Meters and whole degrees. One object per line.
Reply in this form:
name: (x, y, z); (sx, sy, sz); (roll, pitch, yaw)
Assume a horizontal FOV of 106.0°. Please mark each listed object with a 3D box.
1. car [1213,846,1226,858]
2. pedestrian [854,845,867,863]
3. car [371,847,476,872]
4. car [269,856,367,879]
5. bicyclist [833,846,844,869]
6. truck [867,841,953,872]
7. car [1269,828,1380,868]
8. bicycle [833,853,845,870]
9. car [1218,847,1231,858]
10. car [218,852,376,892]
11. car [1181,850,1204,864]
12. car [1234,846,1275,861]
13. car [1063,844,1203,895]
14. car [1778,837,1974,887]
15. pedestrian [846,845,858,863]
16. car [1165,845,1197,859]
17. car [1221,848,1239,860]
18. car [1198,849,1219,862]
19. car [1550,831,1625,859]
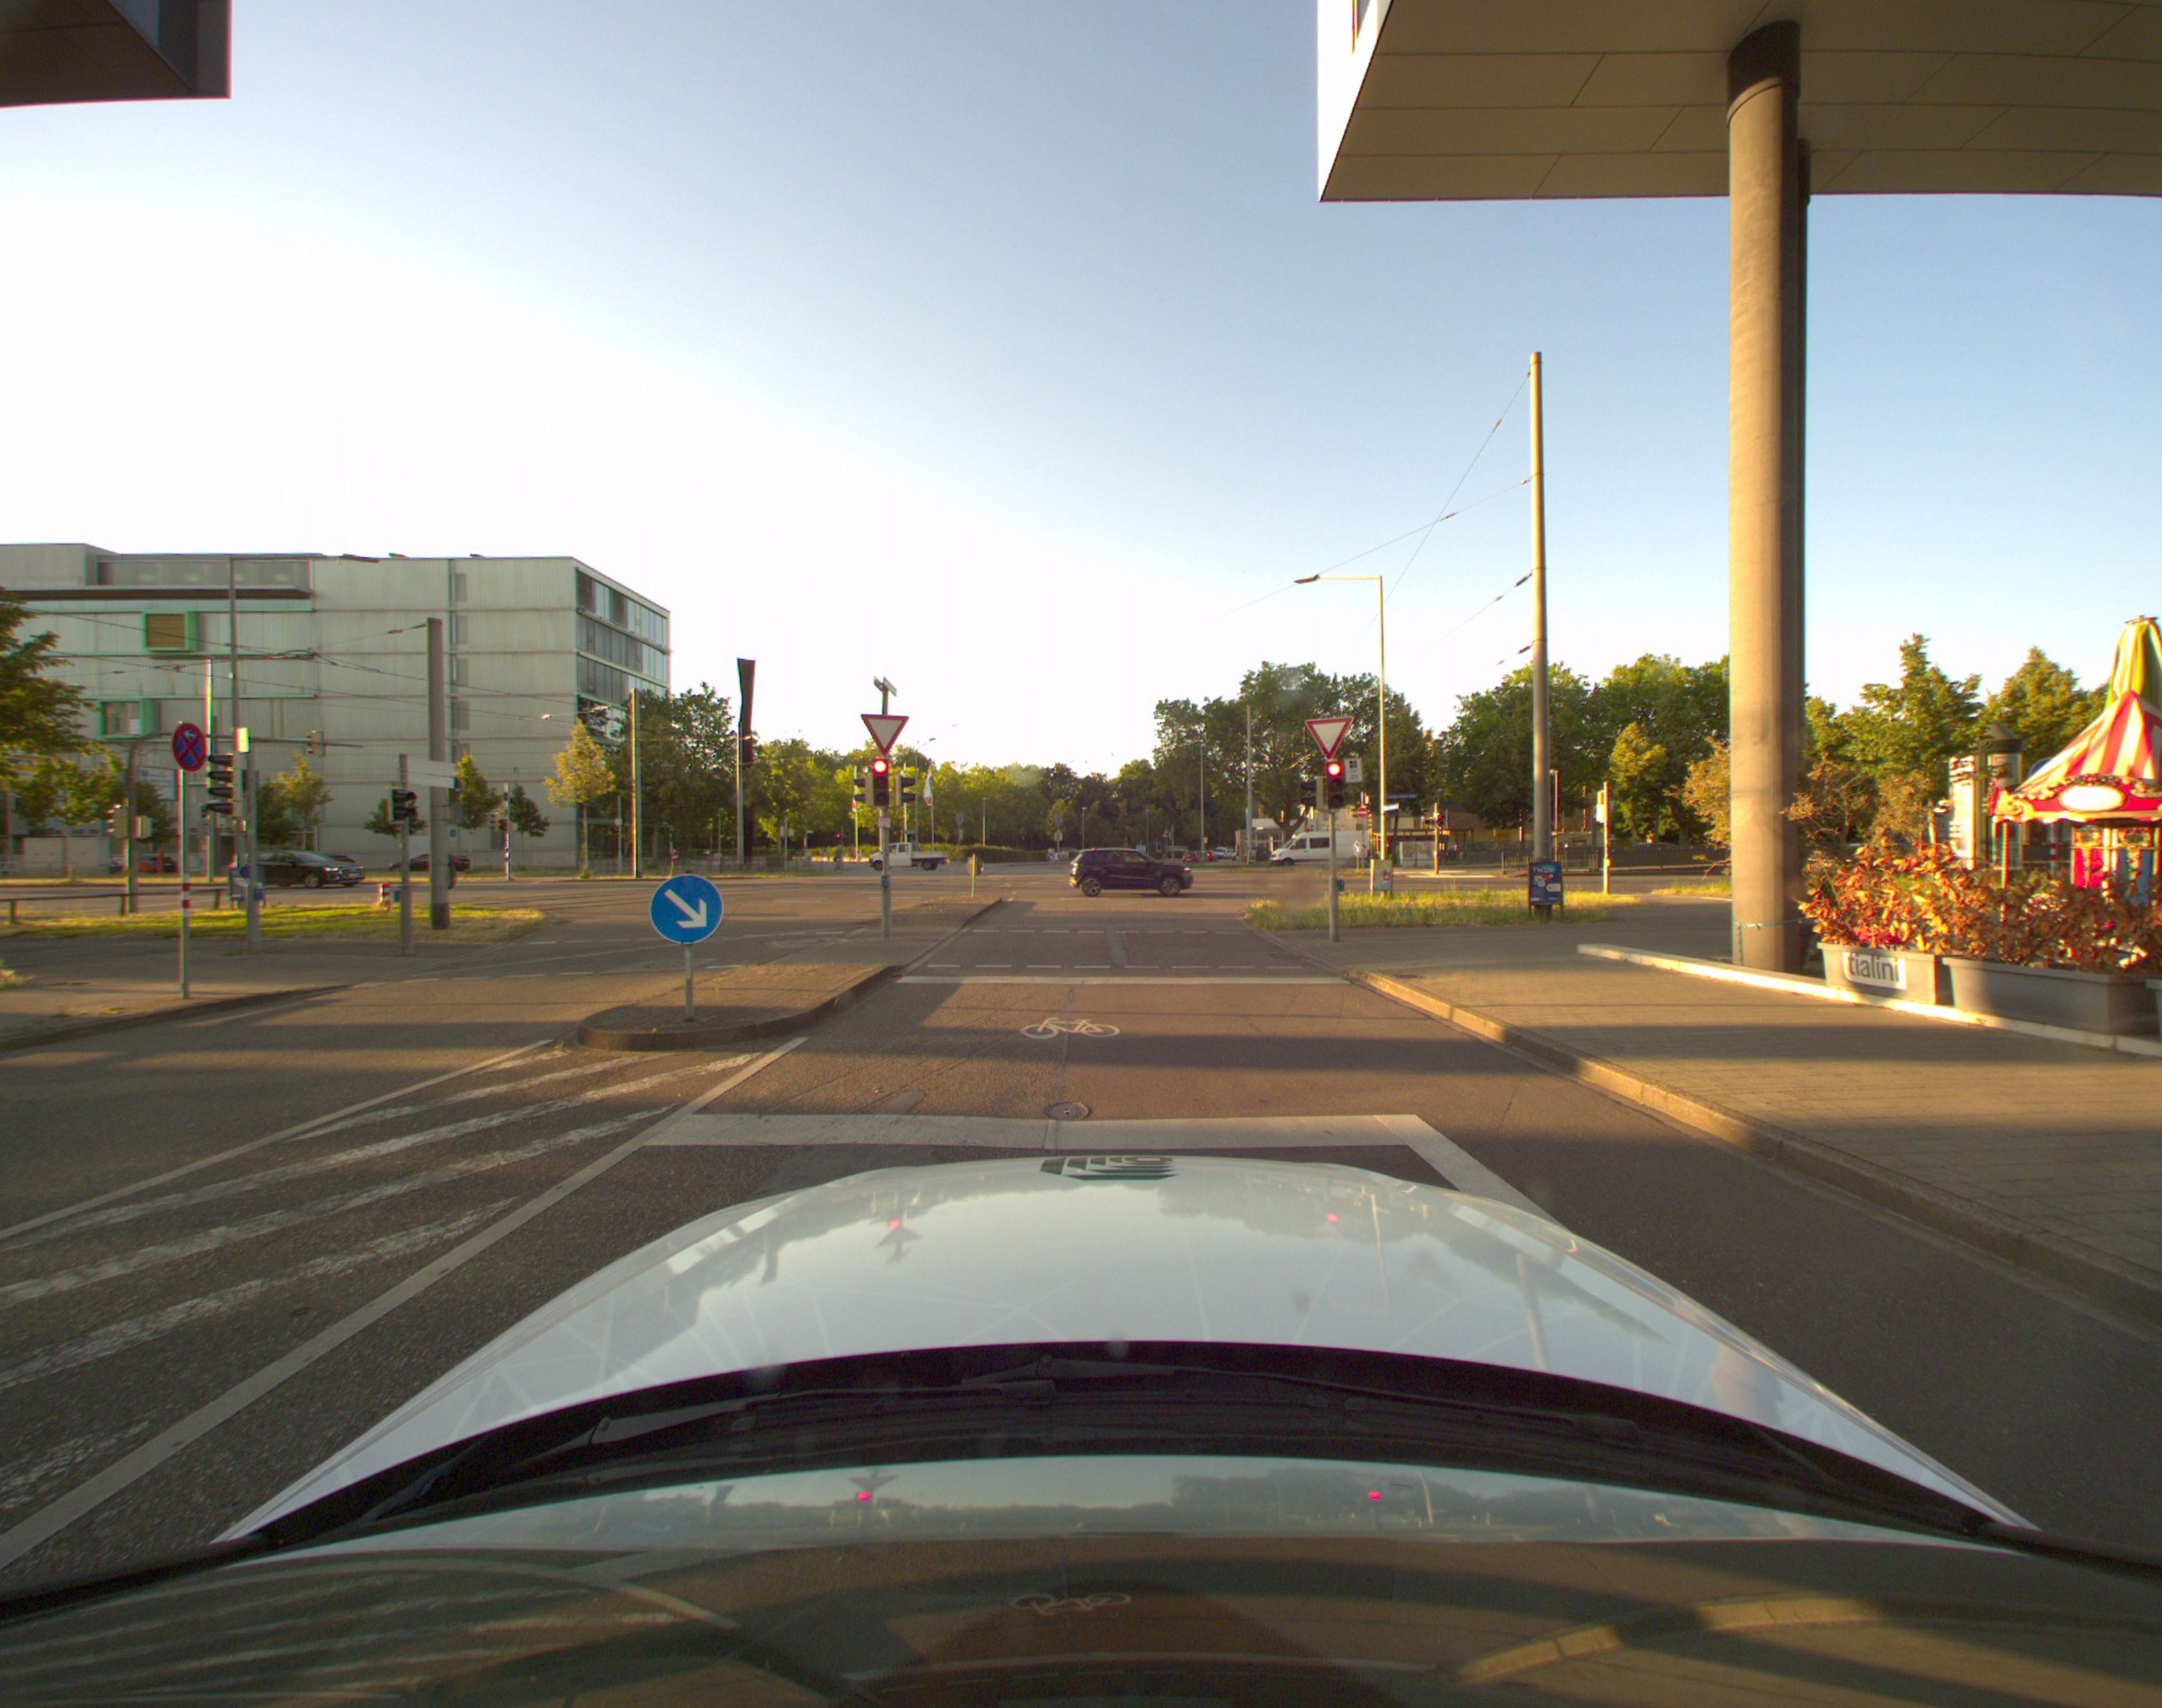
car: (22.265, -0.262, 130.882); (1.850, 1.794, 4.013); (-1, -1, 12)
pedestrian: (-21.795, -0.032, 80.554); (0.852, 1.744, 0.835); (0, 0, 42)
car: (-42.811, 0.370, 53.132); (5.206, 1.552, 2.000); (-1, -1, 1)
car: (-54.597, 0.983, 58.318); (5.082, 1.552, 2.000); (-1, -1, 1)
bicyclist: (-18.978, 0.273, 63.784); (0.753, 1.709, 0.914); (-1, 0, -20)
truck: (-11.961, 0.165, 57.276); (5.539, 2.054, 2.067); (-1, 0, -1)
car: (16.756, -0.393, 56.441); (6.892, 2.636, 2.812); (-1, -1, 1)
bicycle: (-19.012, 0.582, 64.035); (0.732, 1.341, 2.673); (-1, 0, -20)
car: (23.928, -0.269, 135.740); (1.849, 1.794, 4.015); (-1, -1, 14)
car: (-32.510, 0.734, 33.897); (4.467, 1.557, 1.986); (-1, 0, -4)
car: (13.101, 0.368, 95.561); (1.978, 1.662, 4.018); (-1, -1, 17)
car: (18.920, 0.004, 88.903); (4.194, 1.552, 2.005); (-1, -1, 9)
car: (1.640, 0.496, 26.900); (4.423, 1.574, 1.998); (-1, 0, -3)
car: (27.280, 0.251, 28.045); (4.893, 1.614, 1.999); (-1, 0, -1)
pedestrian: (-22.438, -0.027, 79.881); (0.852, 1.744, 0.835); (0, 0, 42)
car: (15.411, -0.343, 125.732); (4.753, 2.006, 2.002); (-1, -1, 3)
car: (21.083, -0.012, 115.302); (1.978, 1.662, 4.018); (-1, -1, 17)
car: (16.203, 0.205, 103.182); (1.978, 1.662, 4.018); (-1, -1, 17)
car: (47.849, -0.852, 77.070); (5.561, 2.551, 2.235); (-1, 0, 9)
